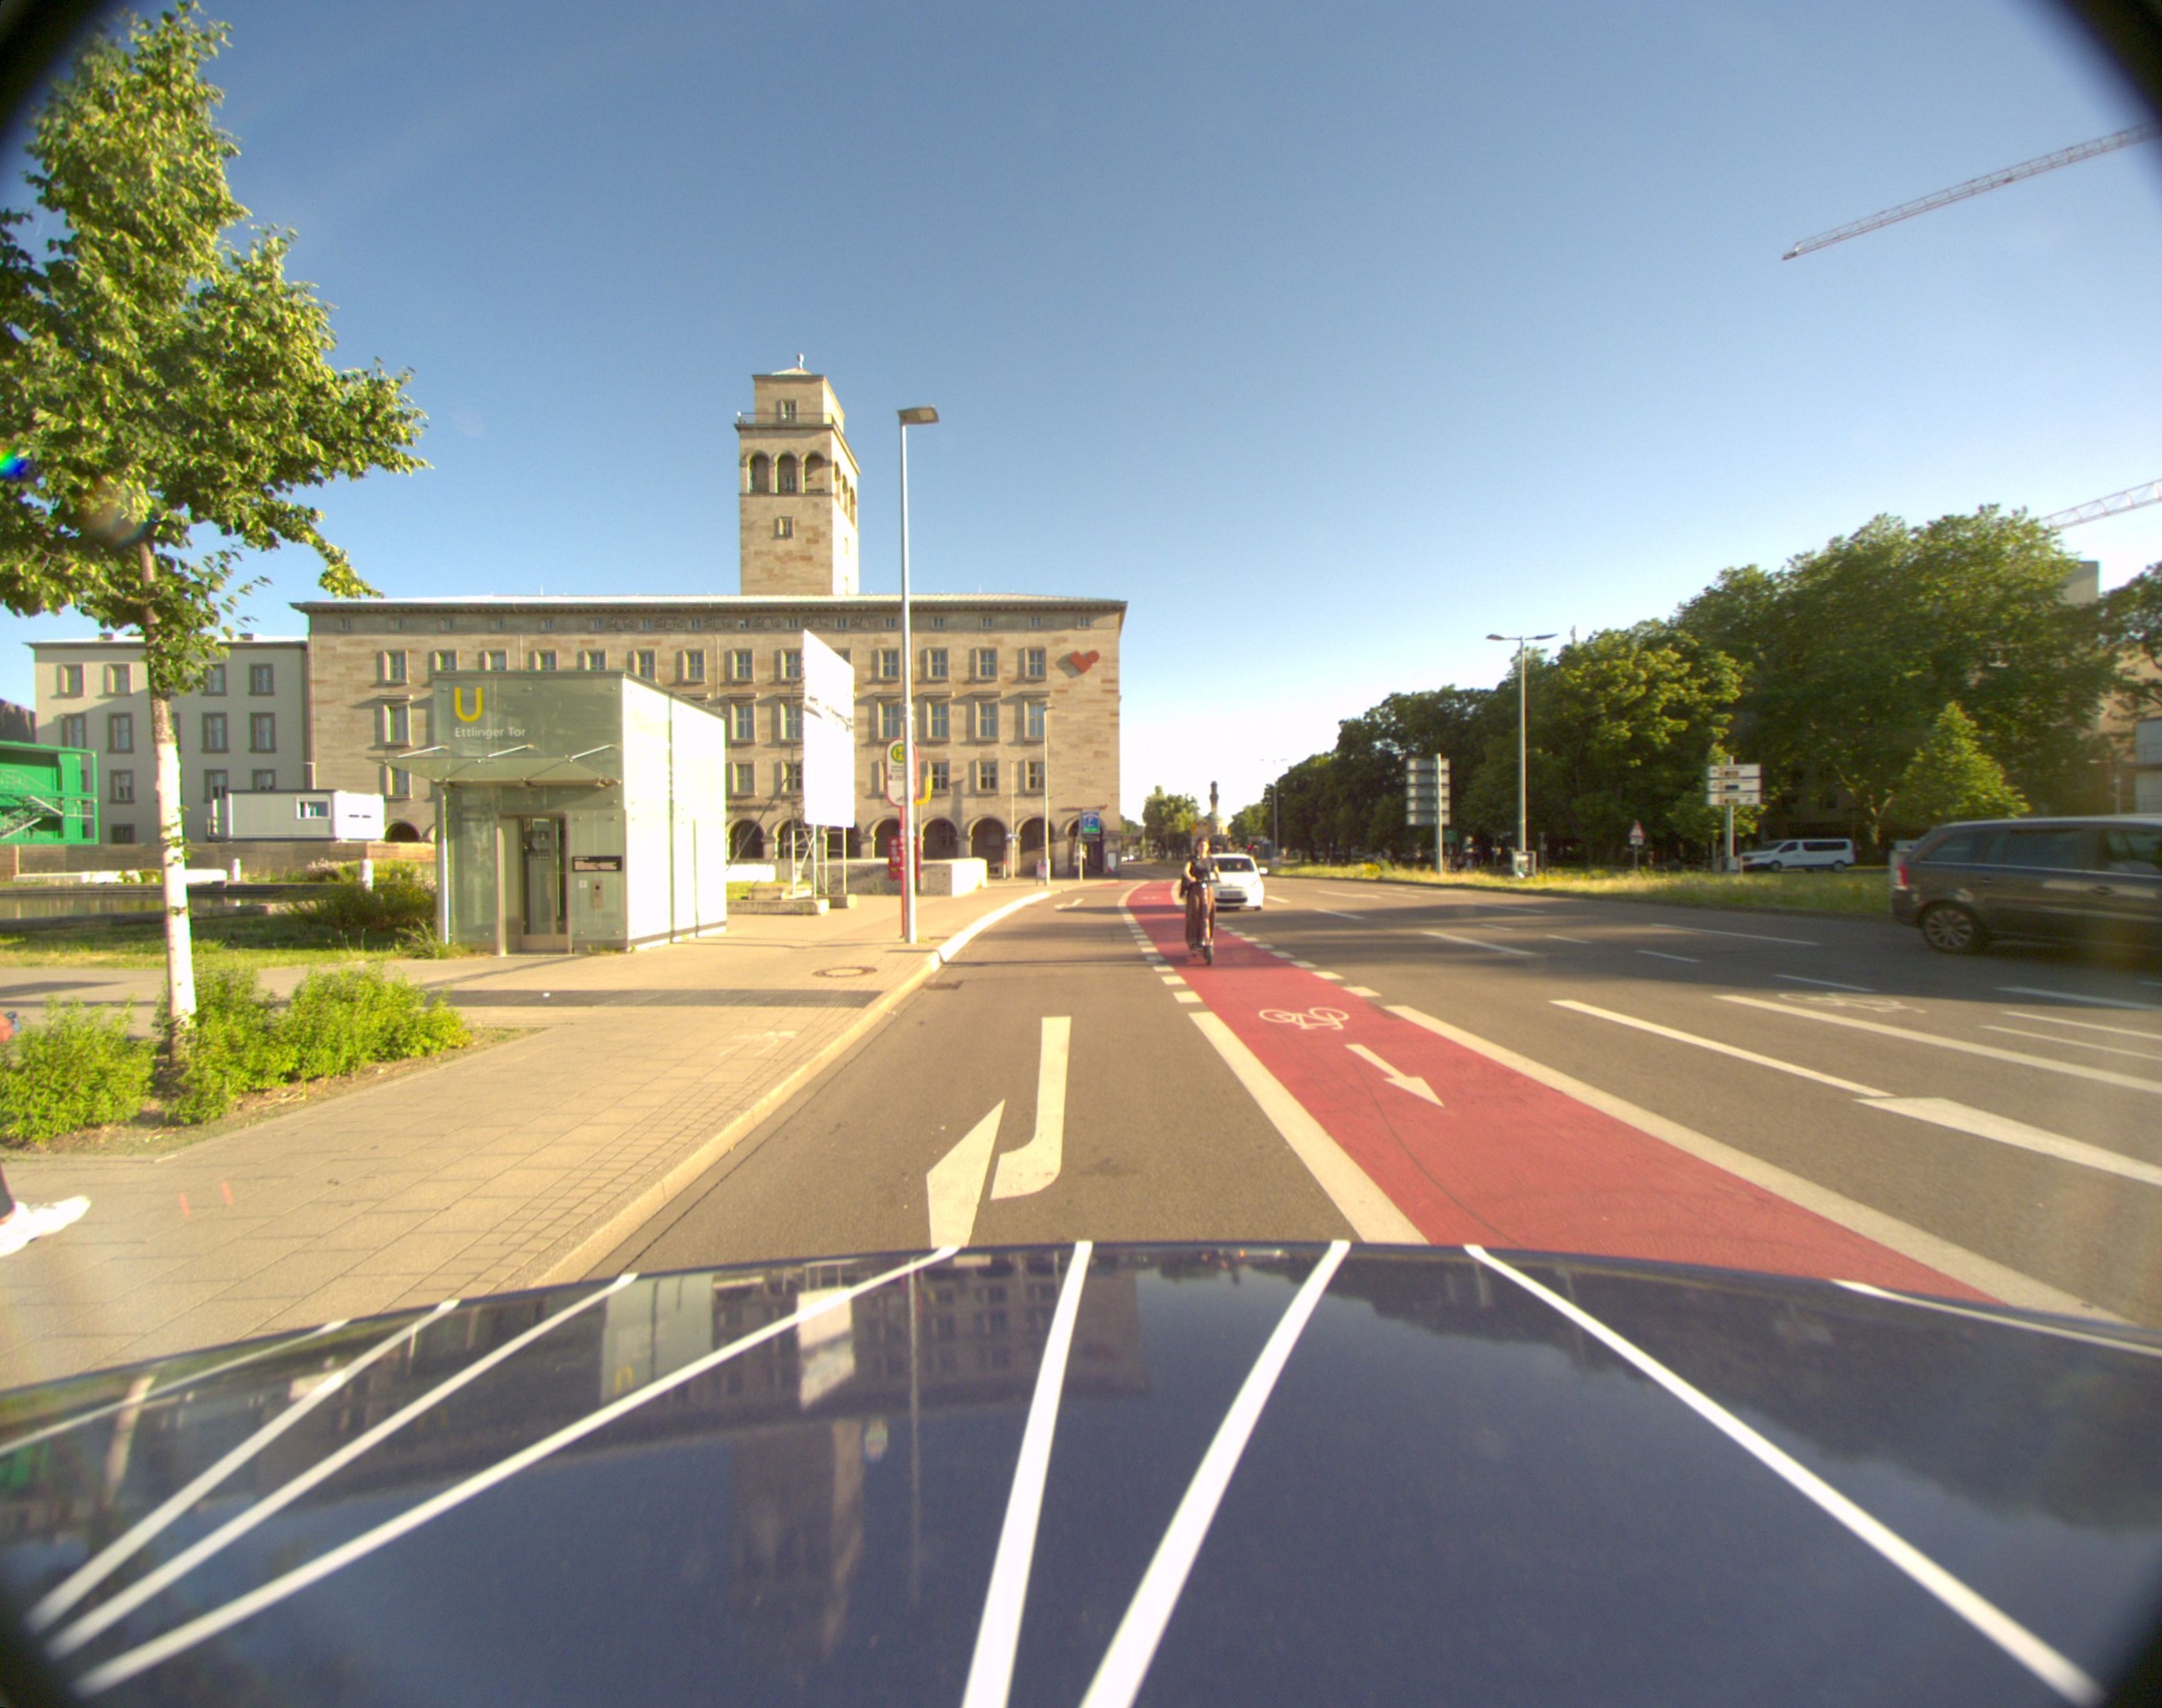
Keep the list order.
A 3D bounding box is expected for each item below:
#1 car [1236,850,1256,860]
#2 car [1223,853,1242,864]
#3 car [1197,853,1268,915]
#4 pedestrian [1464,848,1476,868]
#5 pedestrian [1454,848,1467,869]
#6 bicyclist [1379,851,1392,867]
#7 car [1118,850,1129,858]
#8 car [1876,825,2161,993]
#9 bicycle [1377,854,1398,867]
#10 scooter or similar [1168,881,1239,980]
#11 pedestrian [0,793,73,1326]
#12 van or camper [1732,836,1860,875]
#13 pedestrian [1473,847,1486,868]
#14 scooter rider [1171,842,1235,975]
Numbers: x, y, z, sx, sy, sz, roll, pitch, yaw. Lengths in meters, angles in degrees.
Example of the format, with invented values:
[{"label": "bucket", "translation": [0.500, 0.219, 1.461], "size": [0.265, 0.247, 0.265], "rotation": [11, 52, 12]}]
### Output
[{"label": "car", "translation": [25.915, 0.105, 119.530], "size": [1.999, 1.499, 3.998], "rotation": [-1, 0, -4]}, {"label": "car", "translation": [21.416, 0.615, 107.761], "size": [1.872, 1.390, 3.999], "rotation": [-1, 0, -1]}, {"label": "car", "translation": [4.135, 0.744, 20.752], "size": [1.677, 1.440, 3.892], "rotation": [-2, 0, 12]}, {"label": "pedestrian", "translation": [32.848, 0.324, 64.168], "size": [0.665, 1.715, 0.762], "rotation": [-1, 1, 1]}, {"label": "pedestrian", "translation": [32.004, 0.359, 64.047], "size": [0.707, 1.715, 0.762], "rotation": [-1, 1, 1]}, {"label": "bicyclist", "translation": [24.736, 0.384, 61.726], "size": [0.639, 1.275, 0.885], "rotation": [-1, 1, -4]}, {"label": "car", "translation": [8.586, 0.052, 154.439], "size": [1.998, 1.652, 4.000], "rotation": [-1, 0, 1]}, {"label": "car", "translation": [11.390, 0.502, 7.695], "size": [1.998, 1.598, 4.481], "rotation": [-2, 0, 1]}, {"label": "bicycle", "translation": [24.751, 0.548, 61.433], "size": [0.639, 1.016, 2.242], "rotation": [-1, 0, -4]}, {"label": "scooter or similar", "translation": [1.688, 1.025, 10.714], "size": [0.730, 1.195, 1.664], "rotation": [-1, 0, 1]}, {"label": "pedestrian", "translation": [-4.036, 0.686, 2.294], "size": [0.944, 1.776, 1.069], "rotation": [-1, 1, -40]}, {"label": "van or camper", "translation": [42.309, 0.077, 45.073], "size": [5.649, 2.002, 1.948], "rotation": [-2, 1, 2]}, {"label": "pedestrian", "translation": [33.636, 0.294, 64.119], "size": [0.707, 1.715, 0.762], "rotation": [-1, 1, 1]}, {"label": "scooter rider", "translation": [1.683, 0.732, 10.602], "size": [0.730, 1.764, 0.811], "rotation": [-1, 1, 1]}]
